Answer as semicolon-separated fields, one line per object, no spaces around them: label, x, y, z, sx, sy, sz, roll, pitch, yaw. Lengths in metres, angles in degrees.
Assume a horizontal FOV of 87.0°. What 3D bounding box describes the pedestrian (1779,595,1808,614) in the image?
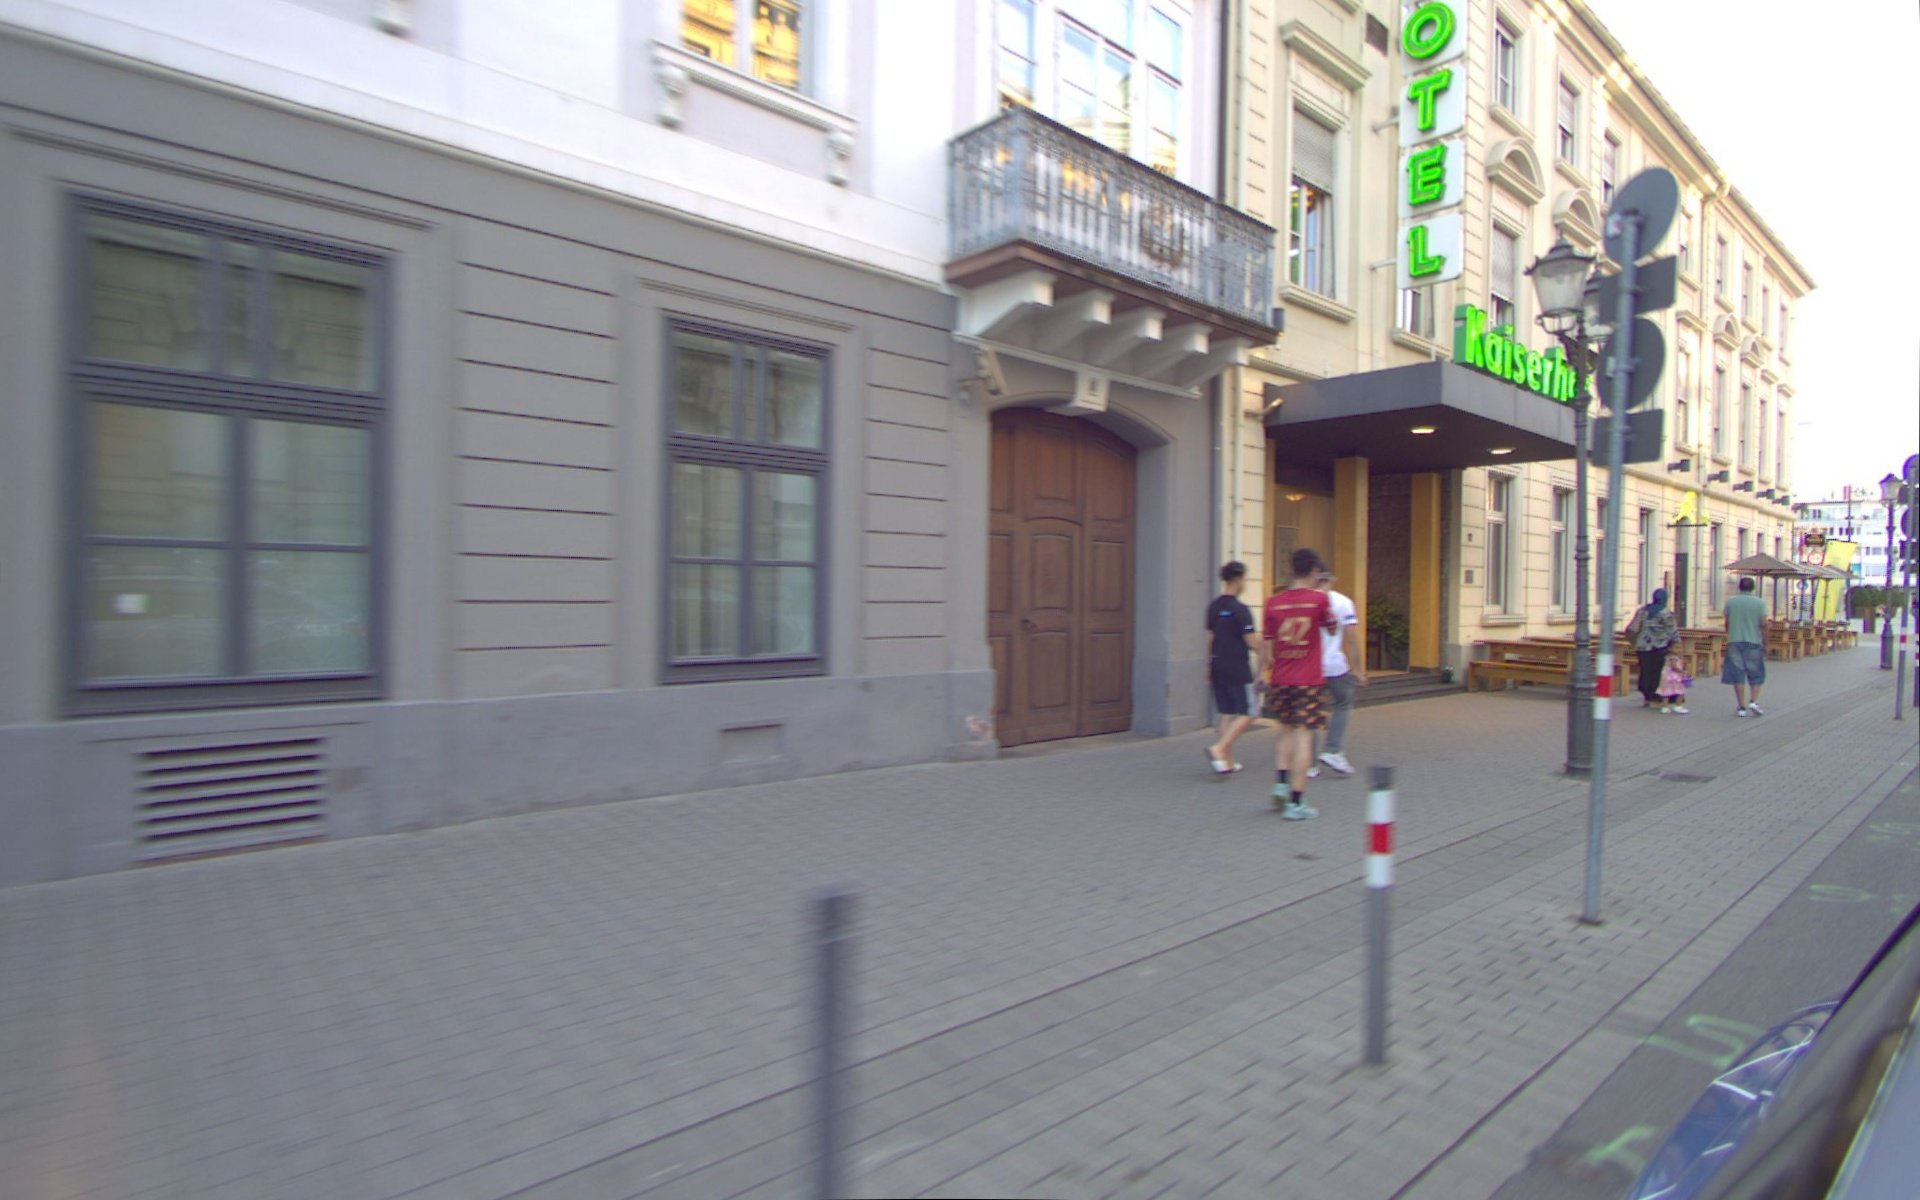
pedestrian;57.030;0.288;69.266;1.396;1.278;1.310;1;1;36

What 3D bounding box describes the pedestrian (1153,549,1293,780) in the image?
pedestrian;2.141;0.482;8.244;0.857;1.751;0.715;0;1;-39

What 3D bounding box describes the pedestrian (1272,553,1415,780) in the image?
pedestrian;3.166;0.507;8.370;0.865;1.751;0.750;0;1;-38

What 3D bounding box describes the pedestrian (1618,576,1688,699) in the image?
pedestrian;9.441;0.483;13.782;0.604;1.621;0.631;0;1;-40

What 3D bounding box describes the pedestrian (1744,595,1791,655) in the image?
pedestrian;19.338;0.589;24.254;0.771;1.376;0.716;1;1;32

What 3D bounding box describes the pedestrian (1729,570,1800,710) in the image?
pedestrian;10.437;0.498;13.134;0.548;1.751;0.608;0;1;-40

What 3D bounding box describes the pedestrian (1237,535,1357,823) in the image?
pedestrian;2.311;0.486;6.899;0.616;1.812;0.904;1;1;28

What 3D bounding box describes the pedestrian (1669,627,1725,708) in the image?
pedestrian;9.616;0.870;13.200;0.548;0.992;0.461;0;1;-40
